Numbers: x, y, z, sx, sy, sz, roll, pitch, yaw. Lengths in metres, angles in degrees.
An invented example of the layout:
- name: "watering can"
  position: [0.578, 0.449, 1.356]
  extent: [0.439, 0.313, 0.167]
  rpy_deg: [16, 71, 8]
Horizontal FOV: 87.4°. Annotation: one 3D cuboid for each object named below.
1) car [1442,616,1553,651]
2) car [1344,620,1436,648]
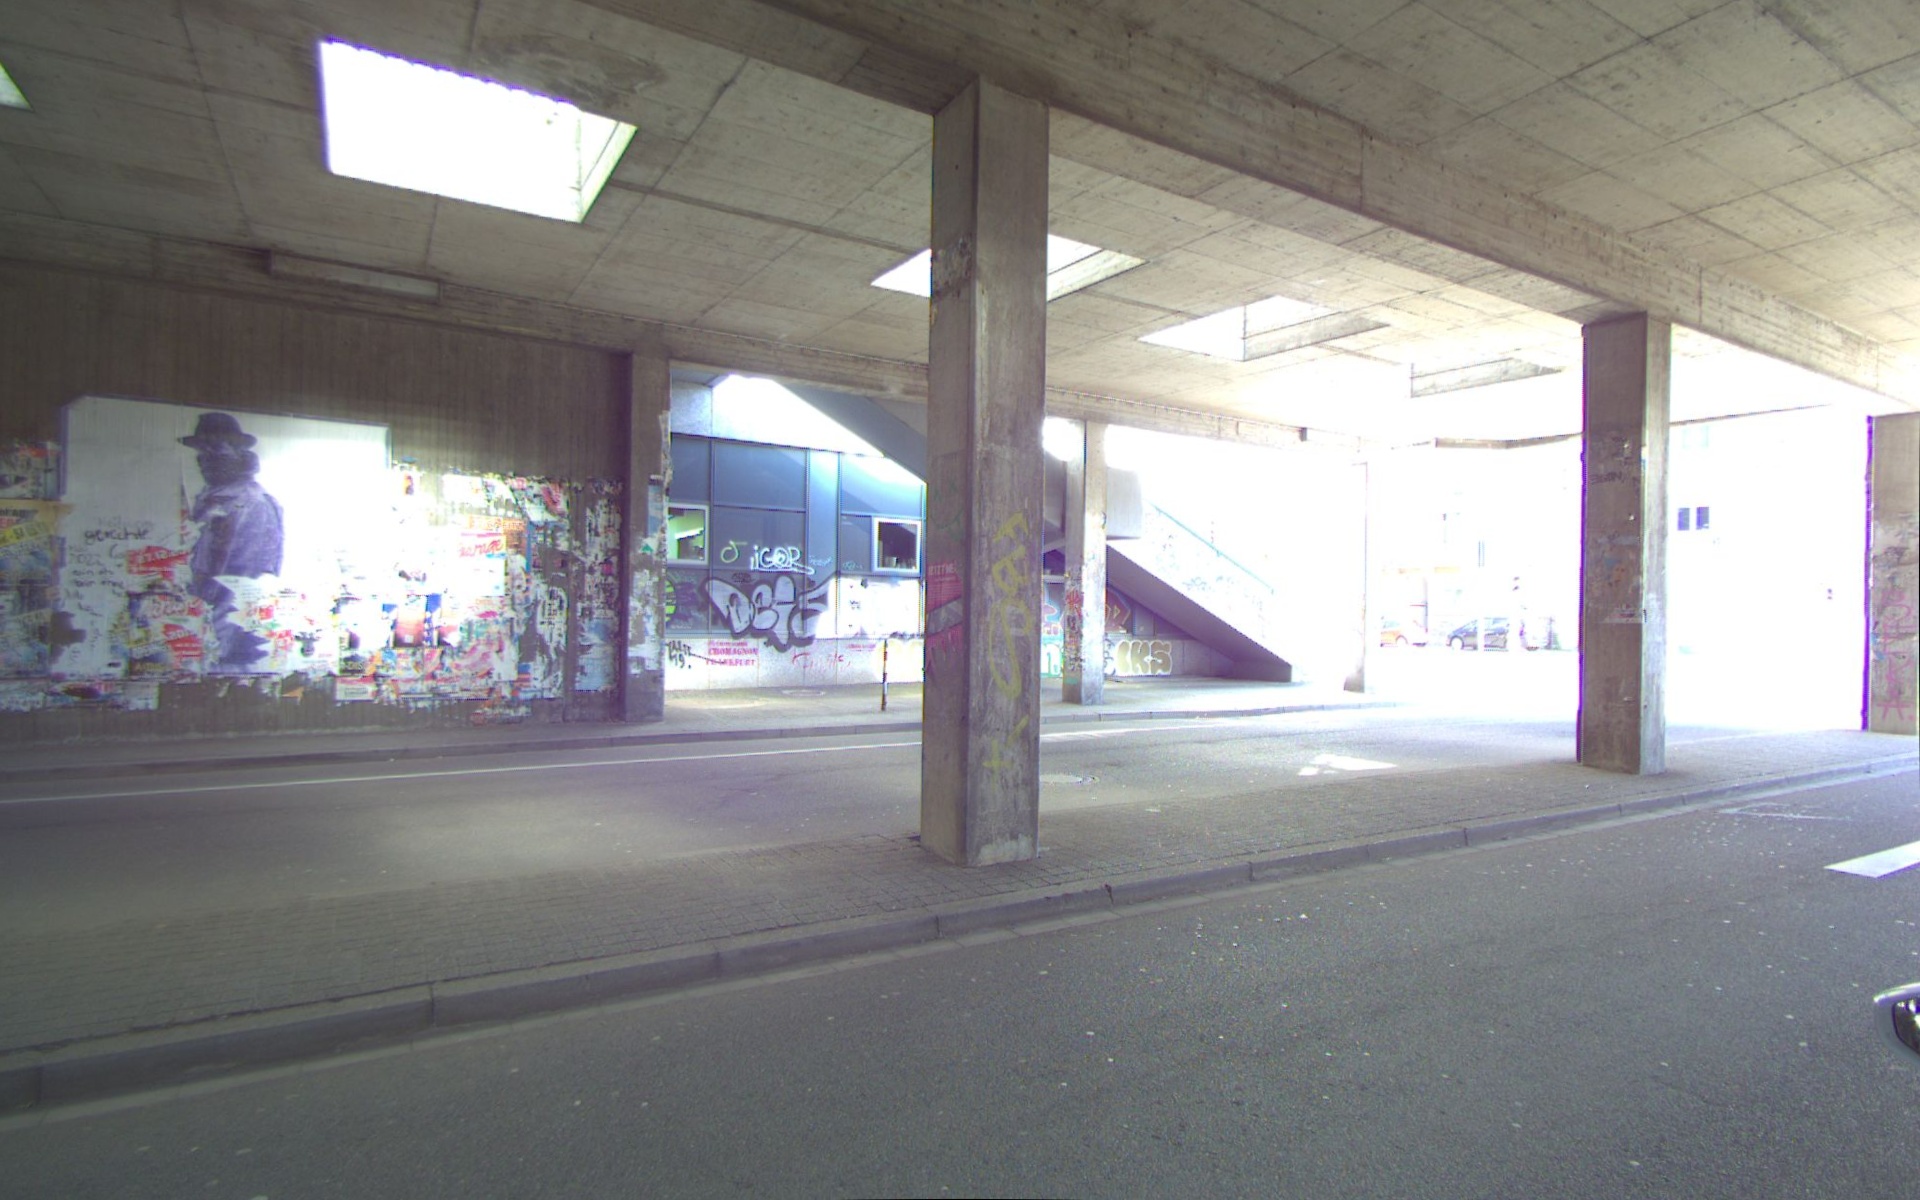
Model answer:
- name: "car"
  position: [25.426, 1.568, 47.665]
  extent: [2.240, 1.571, 4.111]
  rpy_deg: [1, -1, -29]
- name: "car"
  position: [22.504, 1.754, 52.676]
  extent: [2.163, 1.392, 3.971]
  rpy_deg: [1, -1, -28]
